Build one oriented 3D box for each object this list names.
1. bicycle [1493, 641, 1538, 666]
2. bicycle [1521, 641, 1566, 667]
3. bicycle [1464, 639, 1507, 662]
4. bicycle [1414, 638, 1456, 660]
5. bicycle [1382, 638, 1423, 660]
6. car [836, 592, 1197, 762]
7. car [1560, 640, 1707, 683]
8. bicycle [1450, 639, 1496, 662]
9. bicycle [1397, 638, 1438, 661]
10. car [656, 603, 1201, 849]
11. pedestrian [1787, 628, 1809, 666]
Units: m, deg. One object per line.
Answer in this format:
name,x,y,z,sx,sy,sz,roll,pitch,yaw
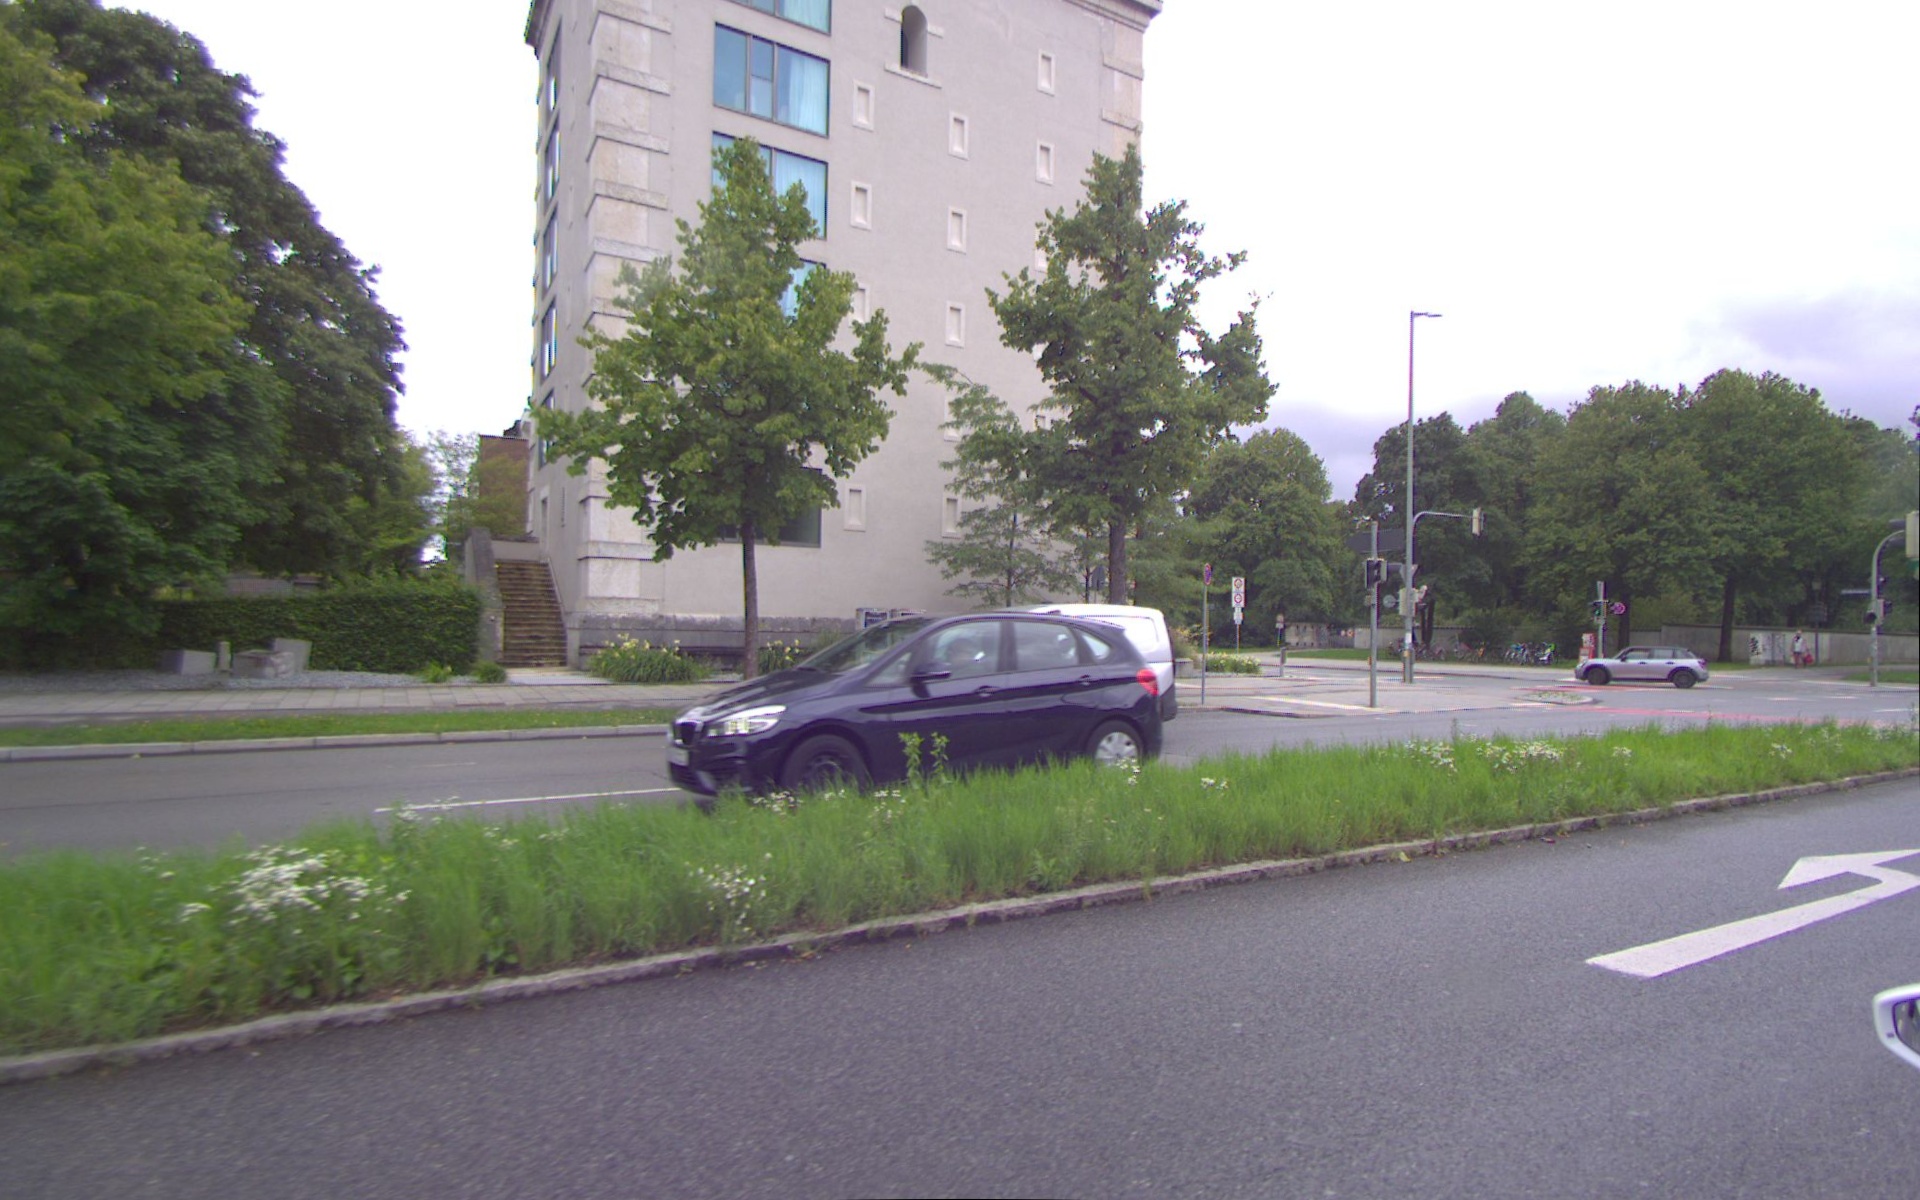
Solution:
bicycle,27.927,2.688,50.487,2.467,1.201,0.831,2,-1,-30
bicycle,28.672,2.654,49.344,2.467,1.201,0.831,2,-1,-30
bicycle,27.642,2.645,52.839,2.467,1.201,0.831,2,-1,-30
bicycle,25.909,2.668,54.737,2.467,1.201,0.831,2,-1,-30
bicycle,24.938,2.737,56.582,2.467,1.201,0.831,2,-1,-30
car,0.793,0.905,12.813,4.380,1.836,1.770,2,-1,-31
car,24.319,2.207,36.329,4.296,1.481,1.925,-2,-4,37
bicycle,28.037,2.751,54.910,2.850,1.201,0.831,2,-1,-30
bicycle,25.375,2.749,55.675,2.467,1.201,0.831,2,-1,-30
car,-0.157,0.879,8.328,4.243,1.590,1.689,2,-1,-31
pedestrian,39.397,2.219,47.228,0.512,1.763,0.703,2,-1,-33
